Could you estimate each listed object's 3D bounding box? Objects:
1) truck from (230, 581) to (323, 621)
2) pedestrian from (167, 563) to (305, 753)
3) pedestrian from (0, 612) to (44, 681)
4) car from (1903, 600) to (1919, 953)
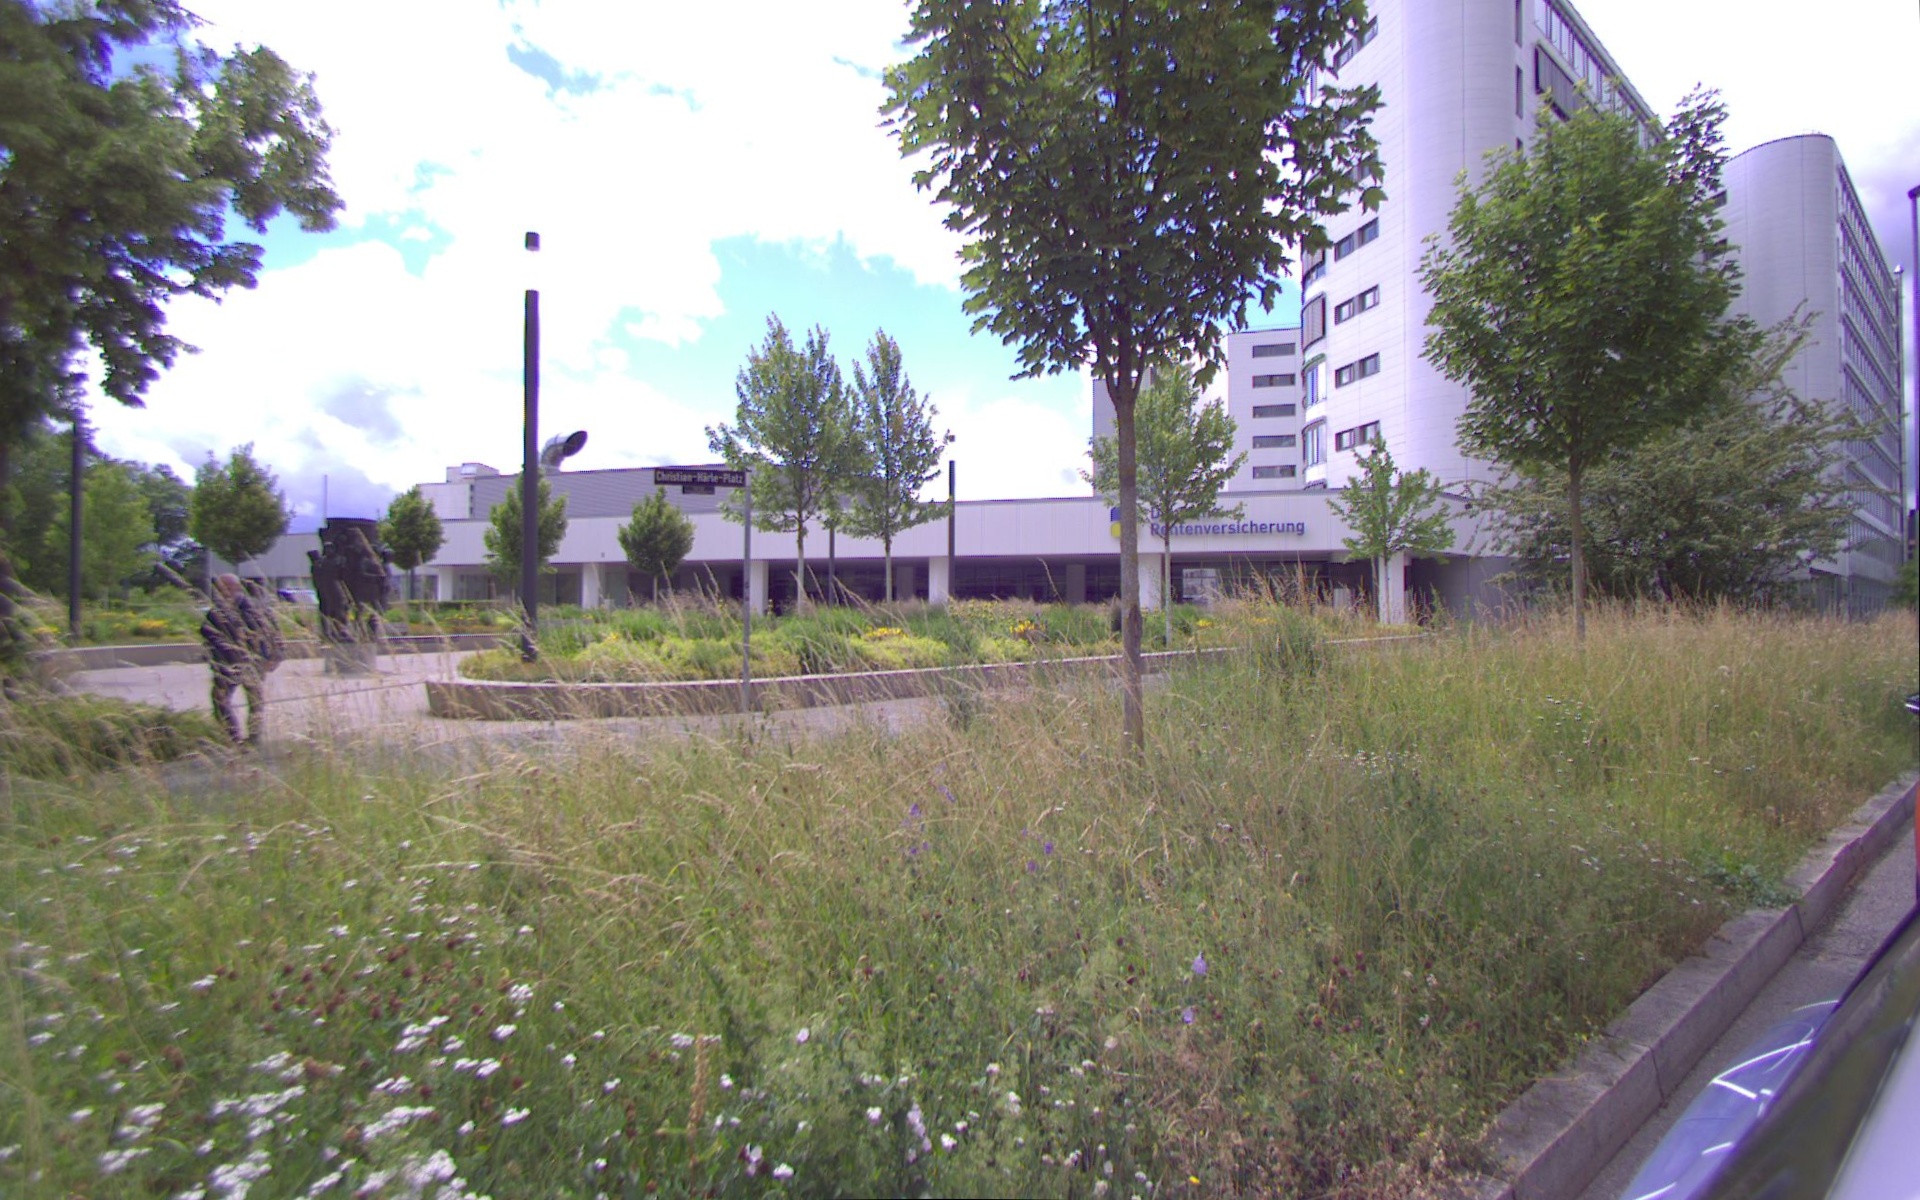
[{"bbox_3d":[-36.153,0.052,53.580,3.941,2.039,1.991,1,0,14],"label":"truck"},{"bbox_3d":[-6.556,0.504,9.205,0.756,1.646,0.766,0,0,-10],"label":"pedestrian"},{"bbox_3d":[-17.399,0.855,18.707,0.621,1.238,0.620,1,0,-36],"label":"pedestrian"},{"bbox_3d":[5.805,0.748,4.649,3.611,1.434,1.748,0,1,-41],"label":"car"}]
